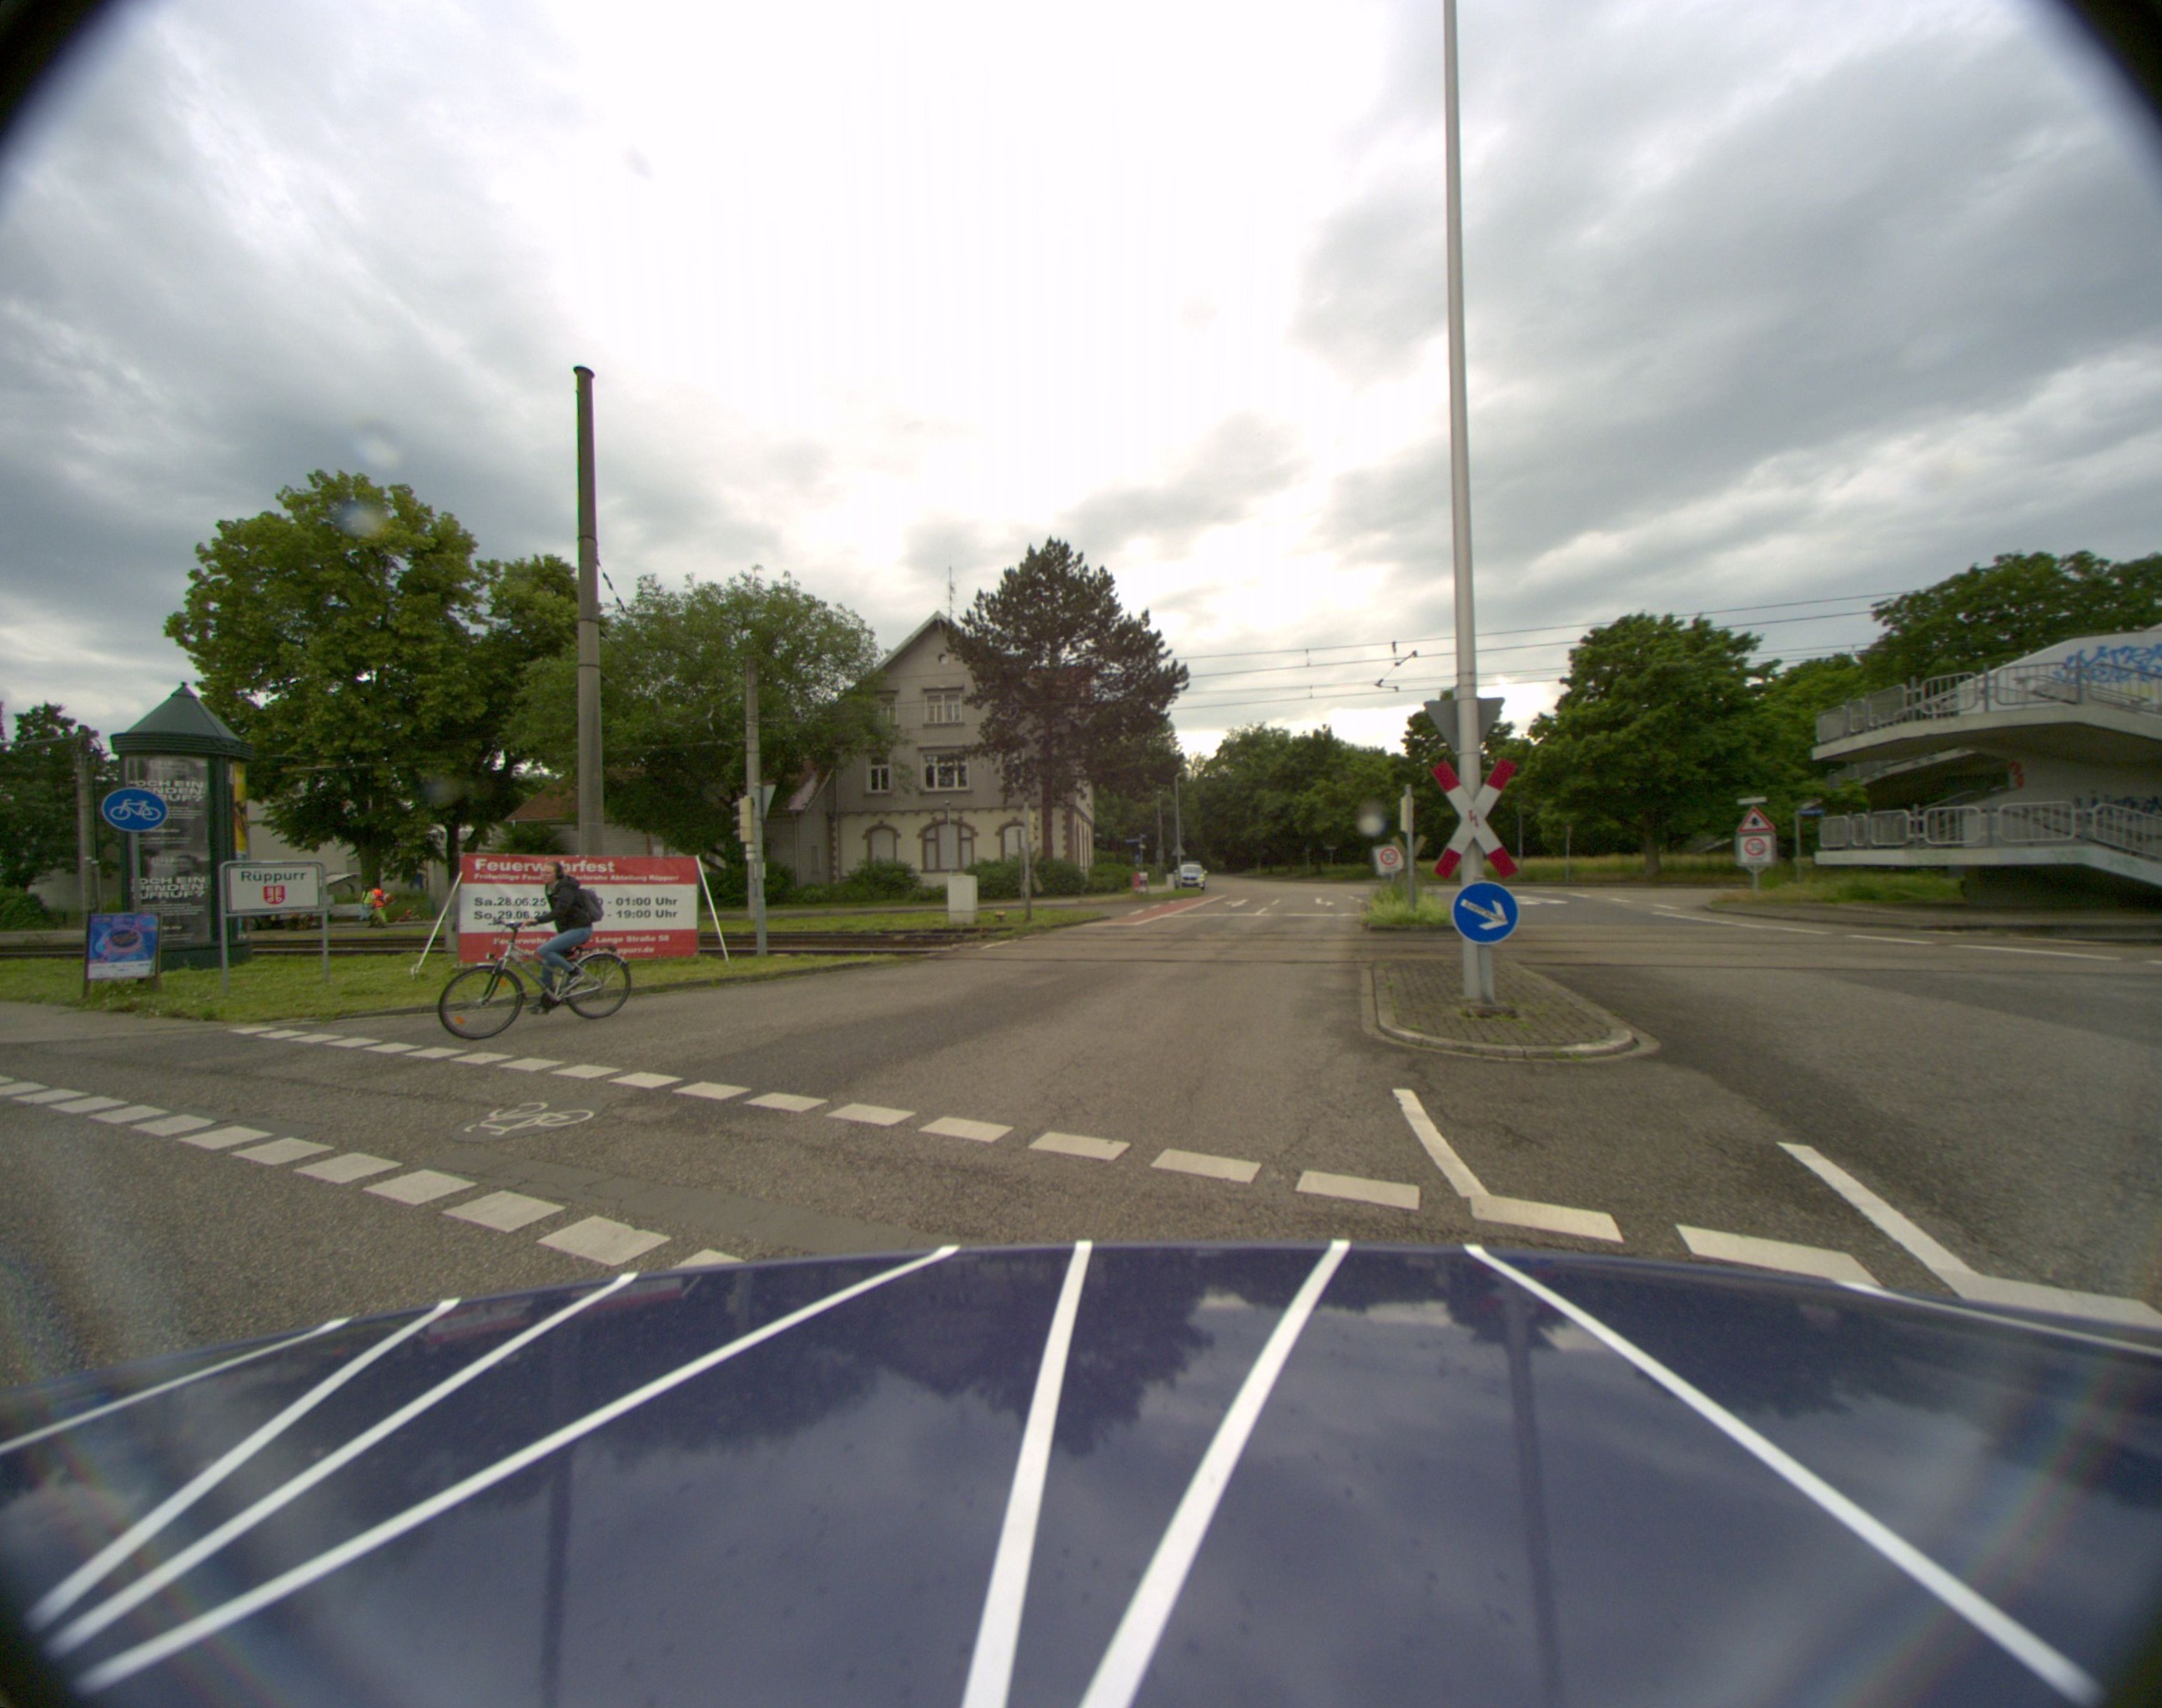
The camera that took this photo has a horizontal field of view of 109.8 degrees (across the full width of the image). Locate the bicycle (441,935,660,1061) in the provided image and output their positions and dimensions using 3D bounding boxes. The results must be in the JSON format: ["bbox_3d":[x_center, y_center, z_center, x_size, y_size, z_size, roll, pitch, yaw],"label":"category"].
[{"bbox_3d":[-5.370,1.407,7.873,0.383,0.974,2.033,-1,-2,18],"label":"bicycle"}]

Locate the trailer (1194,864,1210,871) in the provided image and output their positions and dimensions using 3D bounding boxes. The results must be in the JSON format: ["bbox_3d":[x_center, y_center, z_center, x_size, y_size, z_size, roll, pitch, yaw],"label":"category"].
[{"bbox_3d":[17.996,2.042,113.061,1.571,0.980,3.463,-2,0,-6],"label":"trailer"}]

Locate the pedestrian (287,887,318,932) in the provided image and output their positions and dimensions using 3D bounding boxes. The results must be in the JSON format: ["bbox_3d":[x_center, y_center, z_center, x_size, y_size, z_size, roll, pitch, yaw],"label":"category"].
[{"bbox_3d":[-31.905,2.264,31.149,0.575,1.752,0.636,-2,0,-2],"label":"pedestrian"}]

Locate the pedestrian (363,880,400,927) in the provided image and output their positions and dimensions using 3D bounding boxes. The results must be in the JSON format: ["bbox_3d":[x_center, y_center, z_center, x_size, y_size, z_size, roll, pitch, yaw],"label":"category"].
[{"bbox_3d":[-28.386,1.999,30.858,0.679,1.843,0.875,-2,-1,21],"label":"pedestrian"}]

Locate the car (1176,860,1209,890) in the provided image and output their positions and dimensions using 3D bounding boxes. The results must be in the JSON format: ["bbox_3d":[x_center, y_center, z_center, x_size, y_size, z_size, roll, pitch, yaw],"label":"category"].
[{"bbox_3d":[7.076,1.316,48.431,1.934,1.839,4.002,0,0,6],"label":"car"}]

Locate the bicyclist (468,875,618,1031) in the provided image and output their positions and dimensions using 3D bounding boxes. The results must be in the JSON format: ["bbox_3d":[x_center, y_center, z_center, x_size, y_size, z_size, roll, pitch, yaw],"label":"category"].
[{"bbox_3d":[-5.405,0.962,7.679,0.622,1.416,0.962,-6,-1,18],"label":"bicyclist"}]

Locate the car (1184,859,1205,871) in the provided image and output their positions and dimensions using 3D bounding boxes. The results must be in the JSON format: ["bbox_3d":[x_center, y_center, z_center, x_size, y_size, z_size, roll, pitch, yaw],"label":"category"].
[{"bbox_3d":[17.444,1.693,116.876,2.095,1.846,4.219,-2,0,-8],"label":"car"}]

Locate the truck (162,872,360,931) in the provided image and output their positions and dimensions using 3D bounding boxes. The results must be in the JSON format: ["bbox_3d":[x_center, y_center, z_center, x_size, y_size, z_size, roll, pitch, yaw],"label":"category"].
[{"bbox_3d":[-35.371,2.009,32.871,6.402,2.280,2.607,-2,0,9],"label":"truck"}]

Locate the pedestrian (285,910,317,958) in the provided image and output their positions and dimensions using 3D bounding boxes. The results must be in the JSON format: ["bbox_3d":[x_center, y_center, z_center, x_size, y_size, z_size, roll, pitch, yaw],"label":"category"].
[{"bbox_3d":[-31.579,3.226,30.773,0.713,1.829,0.608,-2,0,-27],"label":"pedestrian"}]

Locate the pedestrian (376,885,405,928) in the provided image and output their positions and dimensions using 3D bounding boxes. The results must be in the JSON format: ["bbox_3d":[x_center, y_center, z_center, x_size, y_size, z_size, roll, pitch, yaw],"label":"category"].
[{"bbox_3d":[-28.898,2.189,31.820,0.575,1.752,0.636,-2,0,-2],"label":"pedestrian"}]
